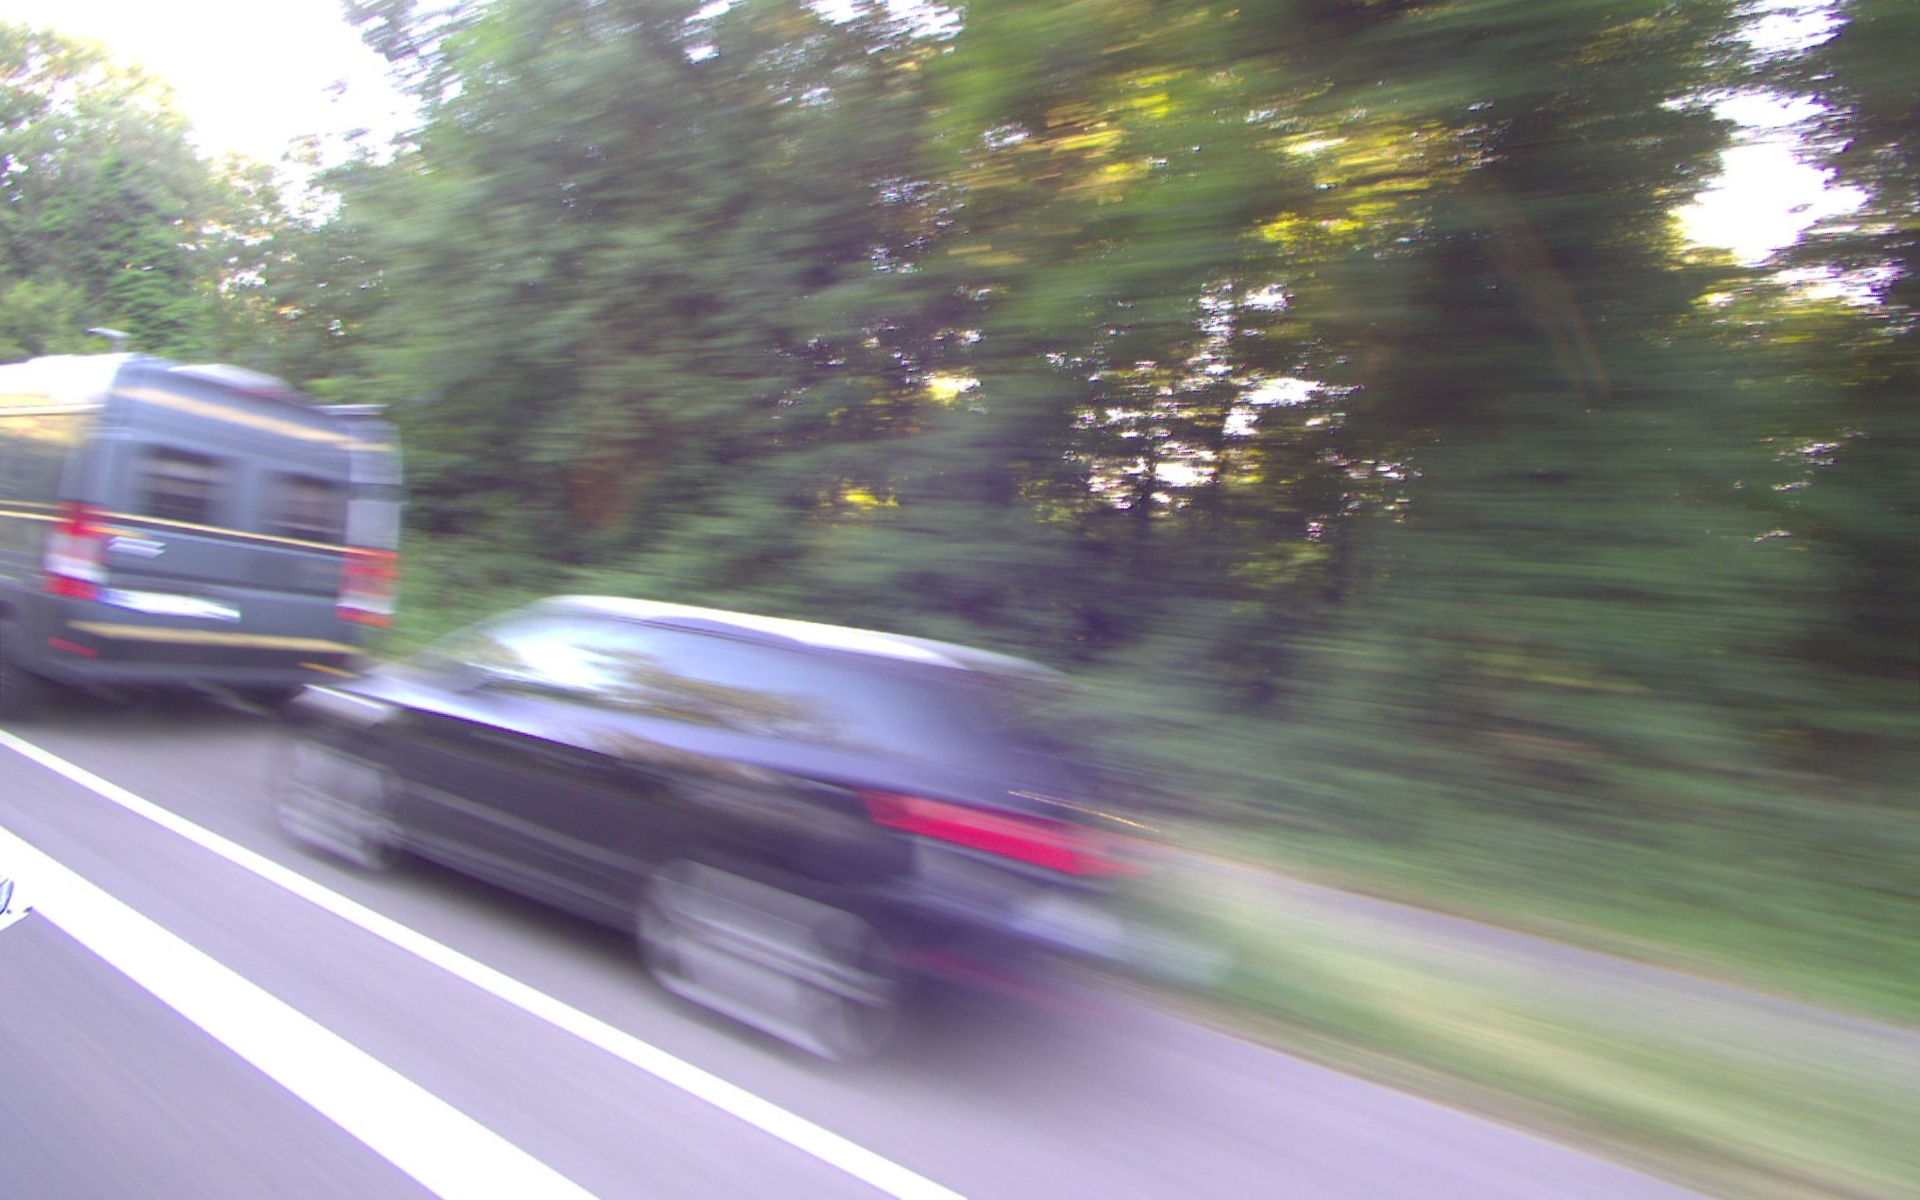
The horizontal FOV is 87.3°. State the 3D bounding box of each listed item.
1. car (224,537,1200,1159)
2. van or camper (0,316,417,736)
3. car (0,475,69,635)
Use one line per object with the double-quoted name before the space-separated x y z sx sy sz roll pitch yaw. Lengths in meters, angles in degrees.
"car" -1.369 0.726 4.730 4.457 1.493 1.607 7 -2 30
"van or camper" -7.509 -0.564 8.552 5.960 2.570 2.131 5 -2 31
"car" -13.170 -0.807 12.284 4.643 1.785 1.856 7 -2 29
